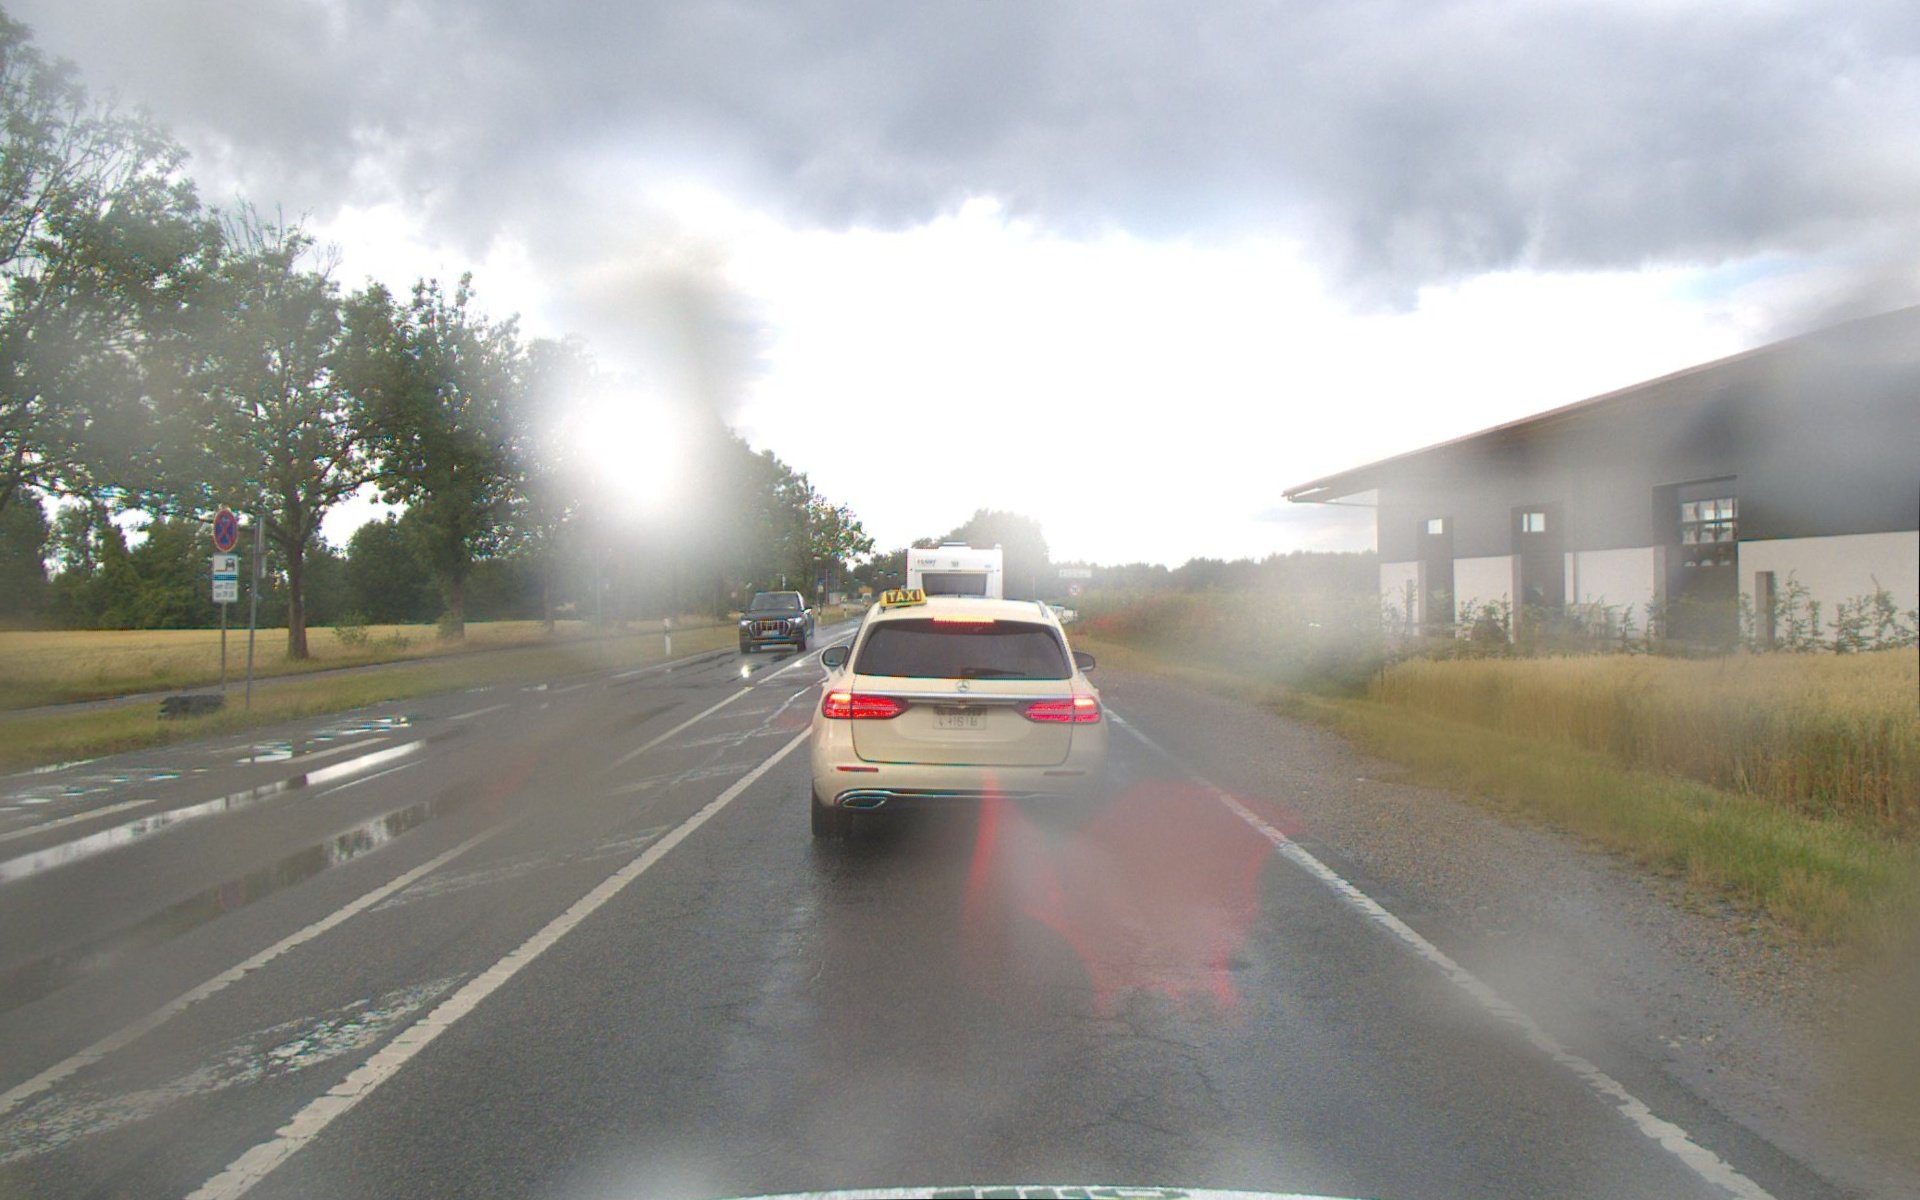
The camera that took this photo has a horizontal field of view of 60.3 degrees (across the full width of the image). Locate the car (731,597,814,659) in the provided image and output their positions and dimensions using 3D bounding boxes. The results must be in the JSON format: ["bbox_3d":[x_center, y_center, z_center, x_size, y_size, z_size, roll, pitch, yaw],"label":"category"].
[{"bbox_3d":[-5.319,0.770,47.371,1.877,1.660,4.356,-2,0,-1],"label":"car"}]

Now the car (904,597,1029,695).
[{"bbox_3d":[0.057,0.676,26.611,1.856,1.454,3.927,0,0,-1],"label":"car"}]

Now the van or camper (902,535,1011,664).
[{"bbox_3d":[-0.062,-0.011,40.995,2.446,2.880,5.934,-2,0,0],"label":"van or camper"}]

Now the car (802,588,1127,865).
[{"bbox_3d":[0.022,0.686,11.082,1.760,1.490,4.030,1,0,0],"label":"car"}]
